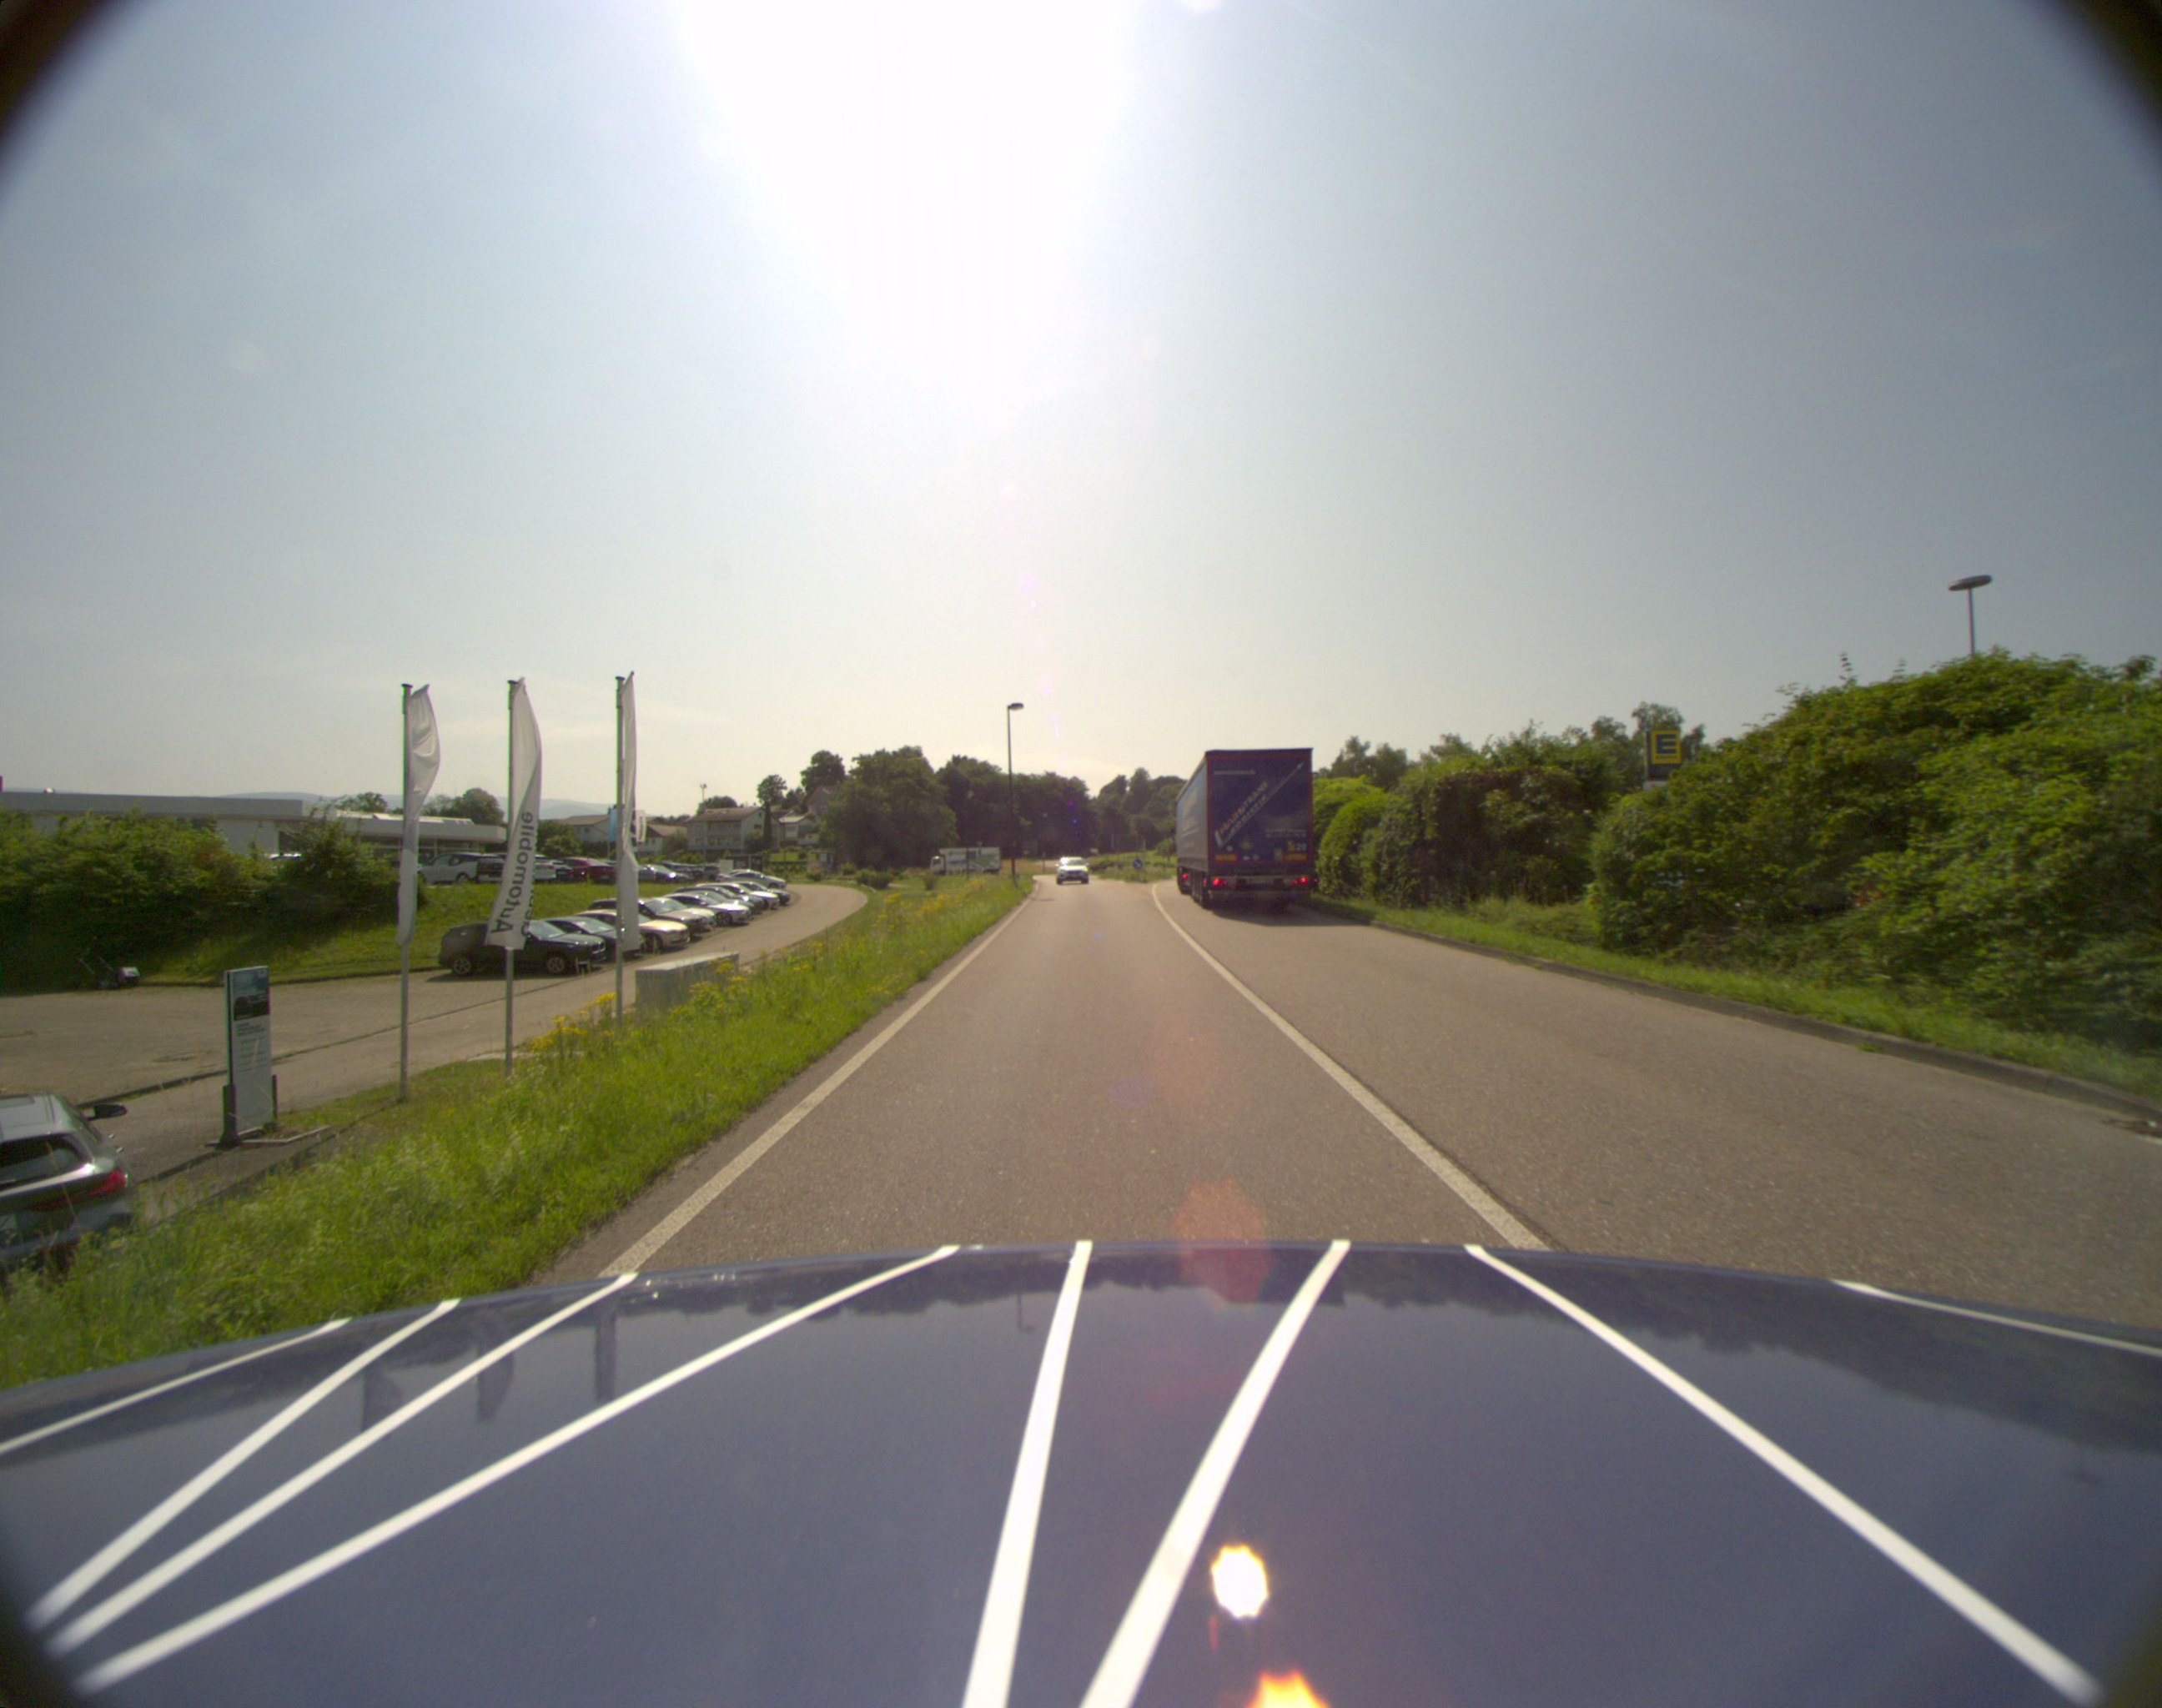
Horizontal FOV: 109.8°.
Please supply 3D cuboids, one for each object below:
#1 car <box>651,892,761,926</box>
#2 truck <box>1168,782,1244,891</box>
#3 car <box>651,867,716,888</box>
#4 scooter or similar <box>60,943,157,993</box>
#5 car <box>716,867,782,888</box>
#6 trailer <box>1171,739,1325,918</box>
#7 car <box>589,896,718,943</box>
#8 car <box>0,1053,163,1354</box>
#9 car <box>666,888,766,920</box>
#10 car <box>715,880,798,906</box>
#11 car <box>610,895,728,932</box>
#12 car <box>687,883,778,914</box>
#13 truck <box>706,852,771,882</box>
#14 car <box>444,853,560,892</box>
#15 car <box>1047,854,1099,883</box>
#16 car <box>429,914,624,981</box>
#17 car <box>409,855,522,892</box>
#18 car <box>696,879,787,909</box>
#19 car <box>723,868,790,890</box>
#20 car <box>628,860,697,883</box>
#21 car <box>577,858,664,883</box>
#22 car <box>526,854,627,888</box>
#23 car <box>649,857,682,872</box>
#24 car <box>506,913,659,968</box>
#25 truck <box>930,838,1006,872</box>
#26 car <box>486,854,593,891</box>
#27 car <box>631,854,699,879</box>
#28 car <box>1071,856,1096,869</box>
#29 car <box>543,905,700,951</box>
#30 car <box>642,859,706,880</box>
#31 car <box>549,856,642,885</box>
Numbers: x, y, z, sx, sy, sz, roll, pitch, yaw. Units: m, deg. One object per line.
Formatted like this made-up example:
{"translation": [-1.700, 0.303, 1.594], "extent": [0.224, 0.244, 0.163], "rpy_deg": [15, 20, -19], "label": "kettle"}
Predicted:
{"translation": [-18.052, 2.634, 36.772], "extent": [4.437, 1.457, 1.920], "rpy_deg": [1, 2, -13], "label": "car"}
{"translation": [5.215, -0.691, 32.694], "extent": [2.519, 4.233, 6.113], "rpy_deg": [-1, 0, 3], "label": "truck"}
{"translation": [-31.682, 1.859, 60.584], "extent": [4.417, 1.491, 1.951], "rpy_deg": [2, 1, 14], "label": "car"}
{"translation": [-28.829, 3.379, 22.546], "extent": [1.980, 1.306, 0.622], "rpy_deg": [-2, 1, -1], "label": "scooter or similar"}
{"translation": [-26.409, 1.871, 60.435], "extent": [4.672, 1.561, 1.765], "rpy_deg": [2, -1, -25], "label": "car"}
{"translation": [4.892, -0.656, 25.666], "extent": [2.676, 4.216, 14.568], "rpy_deg": [-2, 0, 3], "label": "trailer"}
{"translation": [-17.950, 2.729, 32.067], "extent": [4.261, 1.739, 1.998], "rpy_deg": [1, 2, -5], "label": "car"}
{"translation": [-9.581, 2.907, 6.532], "extent": [4.161, 1.514, 1.693], "rpy_deg": [-2, 0, 34], "label": "car"}
{"translation": [-18.884, 2.587, 39.437], "extent": [4.261, 1.405, 1.921], "rpy_deg": [1, 2, -5], "label": "car"}
{"translation": [-19.797, 2.342, 46.584], "extent": [4.577, 1.413, 1.780], "rpy_deg": [1, 2, -19], "label": "car"}
{"translation": [-18.603, 2.691, 34.454], "extent": [4.261, 1.457, 1.872], "rpy_deg": [0, 2, -5], "label": "car"}
{"translation": [-19.146, 2.434, 41.912], "extent": [4.264, 1.474, 1.920], "rpy_deg": [1, 2, -14], "label": "car"}
{"translation": [-31.306, 1.210, 69.497], "extent": [5.614, 2.649, 1.953], "rpy_deg": [-1, 0, 20], "label": "truck"}
{"translation": [-26.740, 0.831, 35.113], "extent": [4.459, 1.737, 1.841], "rpy_deg": [-1, 0, 14], "label": "car"}
{"translation": [-0.573, 0.896, 47.268], "extent": [2.198, 1.642, 5.116], "rpy_deg": [-2, 0, -13], "label": "car"}
{"translation": [-17.641, 2.953, 24.419], "extent": [4.495, 1.631, 2.145], "rpy_deg": [-2, 2, -9], "label": "car"}
{"translation": [-26.470, 0.825, 32.710], "extent": [3.880, 1.523, 1.770], "rpy_deg": [-1, 0, 14], "label": "car"}
{"translation": [-19.680, 2.310, 44.213], "extent": [4.575, 1.557, 1.920], "rpy_deg": [1, 2, -14], "label": "car"}
{"translation": [-24.735, 1.886, 58.069], "extent": [4.582, 1.561, 1.765], "rpy_deg": [0, 1, -20], "label": "car"}
{"translation": [-28.383, 1.211, 51.538], "extent": [4.000, 1.517, 1.953], "rpy_deg": [-1, -1, 20], "label": "car"}
{"translation": [-27.922, 0.990, 46.119], "extent": [4.459, 1.491, 1.952], "rpy_deg": [-1, -1, 14], "label": "car"}
{"translation": [-26.852, 0.892, 40.482], "extent": [4.459, 1.737, 1.952], "rpy_deg": [-1, 0, 14], "label": "car"}
{"translation": [-42.972, 1.066, 78.530], "extent": [1.914, 1.503, 4.363], "rpy_deg": [0, -1, -44], "label": "car"}
{"translation": [-17.452, 3.019, 26.803], "extent": [4.000, 1.543, 1.998], "rpy_deg": [-1, 2, -9], "label": "car"}
{"translation": [-13.796, 0.100, 93.117], "extent": [9.022, 3.807, 2.898], "rpy_deg": [-2, 1, -8], "label": "truck"}
{"translation": [-26.782, 0.897, 37.590], "extent": [4.459, 1.737, 1.841], "rpy_deg": [-1, 0, 14], "label": "car"}
{"translation": [-29.933, 0.905, 54.688], "extent": [4.001, 1.740, 1.952], "rpy_deg": [1, 0, 14], "label": "car"}
{"translation": [0.347, 1.076, 98.502], "extent": [2.194, 1.642, 6.023], "rpy_deg": [-3, 0, 10], "label": "car"}
{"translation": [-17.629, 2.834, 29.349], "extent": [4.781, 1.500, 1.998], "rpy_deg": [0, 2, -5], "label": "car"}
{"translation": [-31.165, 1.166, 58.208], "extent": [4.001, 1.491, 1.952], "rpy_deg": [1, -1, 14], "label": "car"}
{"translation": [-27.846, 0.949, 43.642], "extent": [4.459, 1.625, 1.952], "rpy_deg": [-1, 0, 14], "label": "car"}
